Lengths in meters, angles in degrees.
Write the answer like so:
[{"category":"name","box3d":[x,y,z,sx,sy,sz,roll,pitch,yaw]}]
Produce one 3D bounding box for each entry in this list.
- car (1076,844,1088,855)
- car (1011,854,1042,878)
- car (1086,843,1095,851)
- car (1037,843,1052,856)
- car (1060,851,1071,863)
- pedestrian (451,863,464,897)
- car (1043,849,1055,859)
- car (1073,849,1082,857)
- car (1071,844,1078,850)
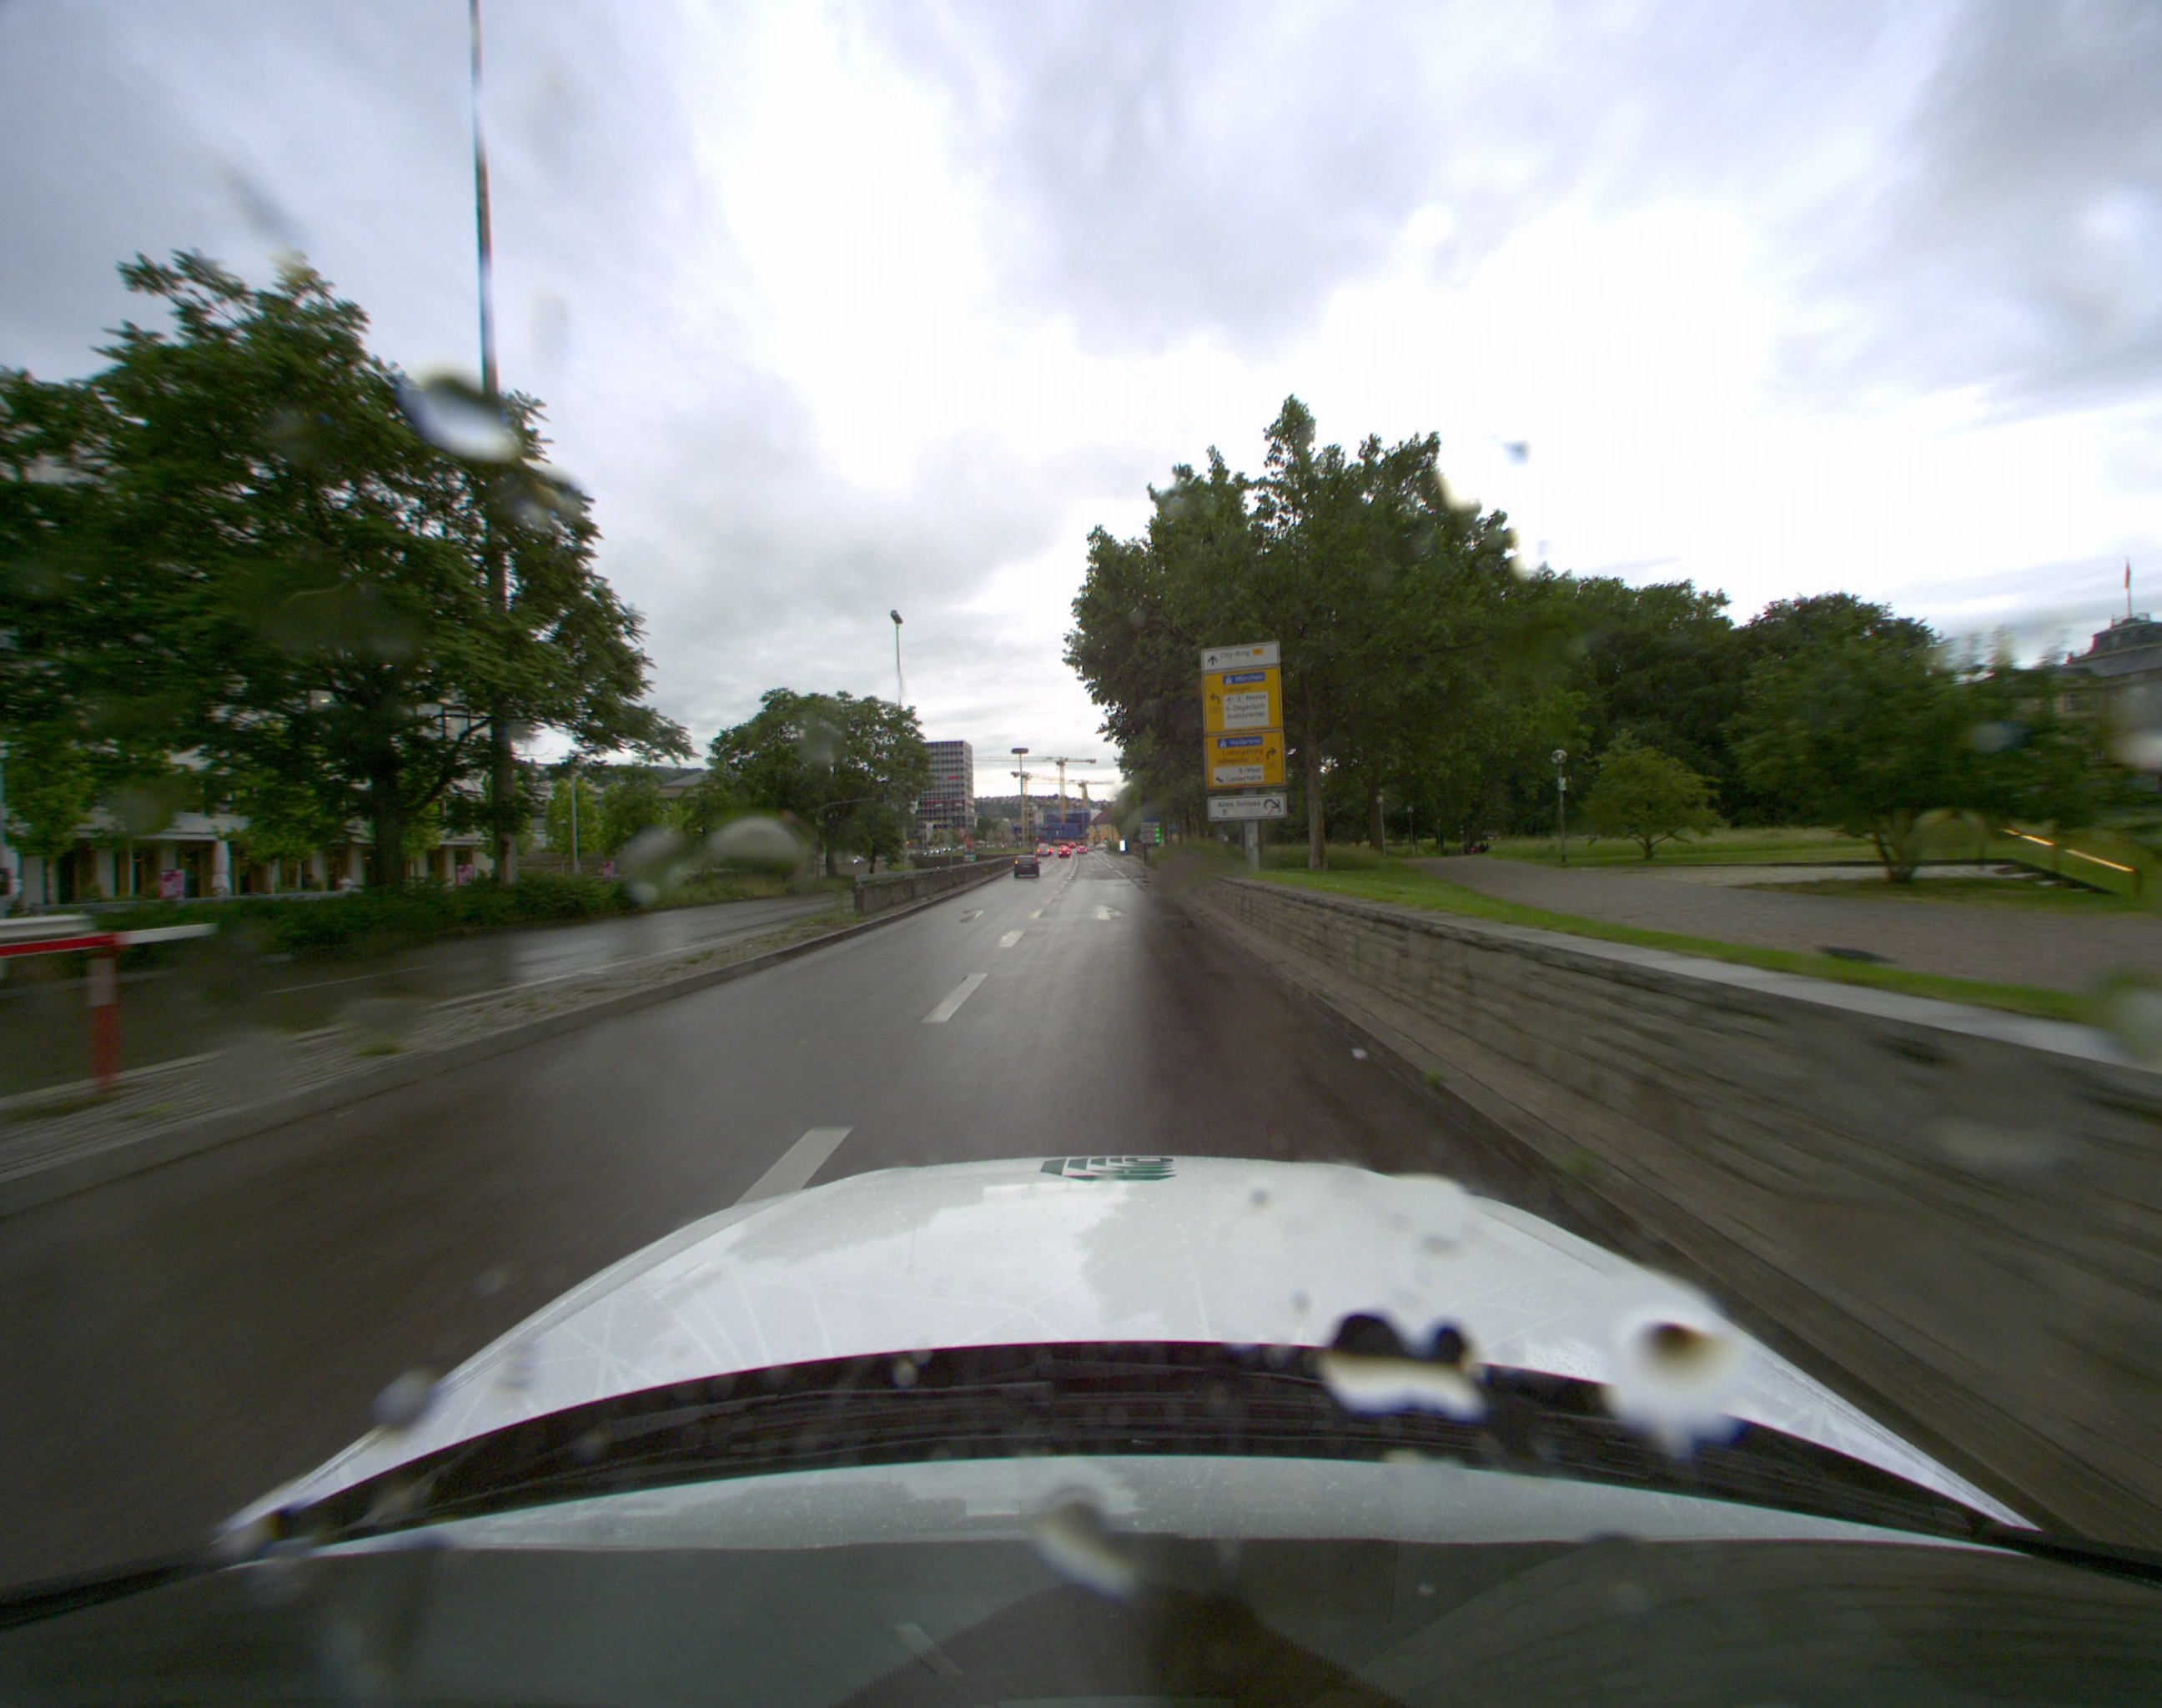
[{"category":"car","box3d":[0.219,-0.850,164.285,1.980,2.013,4.001,-4,-1,2]},{"category":"car","box3d":[-3.726,0.815,55.085,1.842,1.416,3.830,-4,-1,-6]},{"category":"car","box3d":[2.310,-1.601,190.561,1.986,1.599,4.001,-4,-1,2]},{"category":"car","box3d":[-6.572,-0.776,146.396,2.211,2.013,4.001,-4,-1,2]},{"category":"car","box3d":[-2.530,0.501,136.240,1.734,1.771,3.997,-4,-1,-1]},{"category":"pedestrian","box3d":[-37.213,1.562,48.594,0.544,2.014,0.525,-3,-1,-36]},{"category":"car","box3d":[-6.413,0.035,163.515,1.986,1.782,4.001,-4,-1,2]},{"category":"car","box3d":[-0.800,-0.193,172.144,1.706,1.690,3.850,-4,-1,2]},{"category":"car","box3d":[-1.936,-2.088,232.005,1.715,1.557,3.585,-2,0,2]}]
